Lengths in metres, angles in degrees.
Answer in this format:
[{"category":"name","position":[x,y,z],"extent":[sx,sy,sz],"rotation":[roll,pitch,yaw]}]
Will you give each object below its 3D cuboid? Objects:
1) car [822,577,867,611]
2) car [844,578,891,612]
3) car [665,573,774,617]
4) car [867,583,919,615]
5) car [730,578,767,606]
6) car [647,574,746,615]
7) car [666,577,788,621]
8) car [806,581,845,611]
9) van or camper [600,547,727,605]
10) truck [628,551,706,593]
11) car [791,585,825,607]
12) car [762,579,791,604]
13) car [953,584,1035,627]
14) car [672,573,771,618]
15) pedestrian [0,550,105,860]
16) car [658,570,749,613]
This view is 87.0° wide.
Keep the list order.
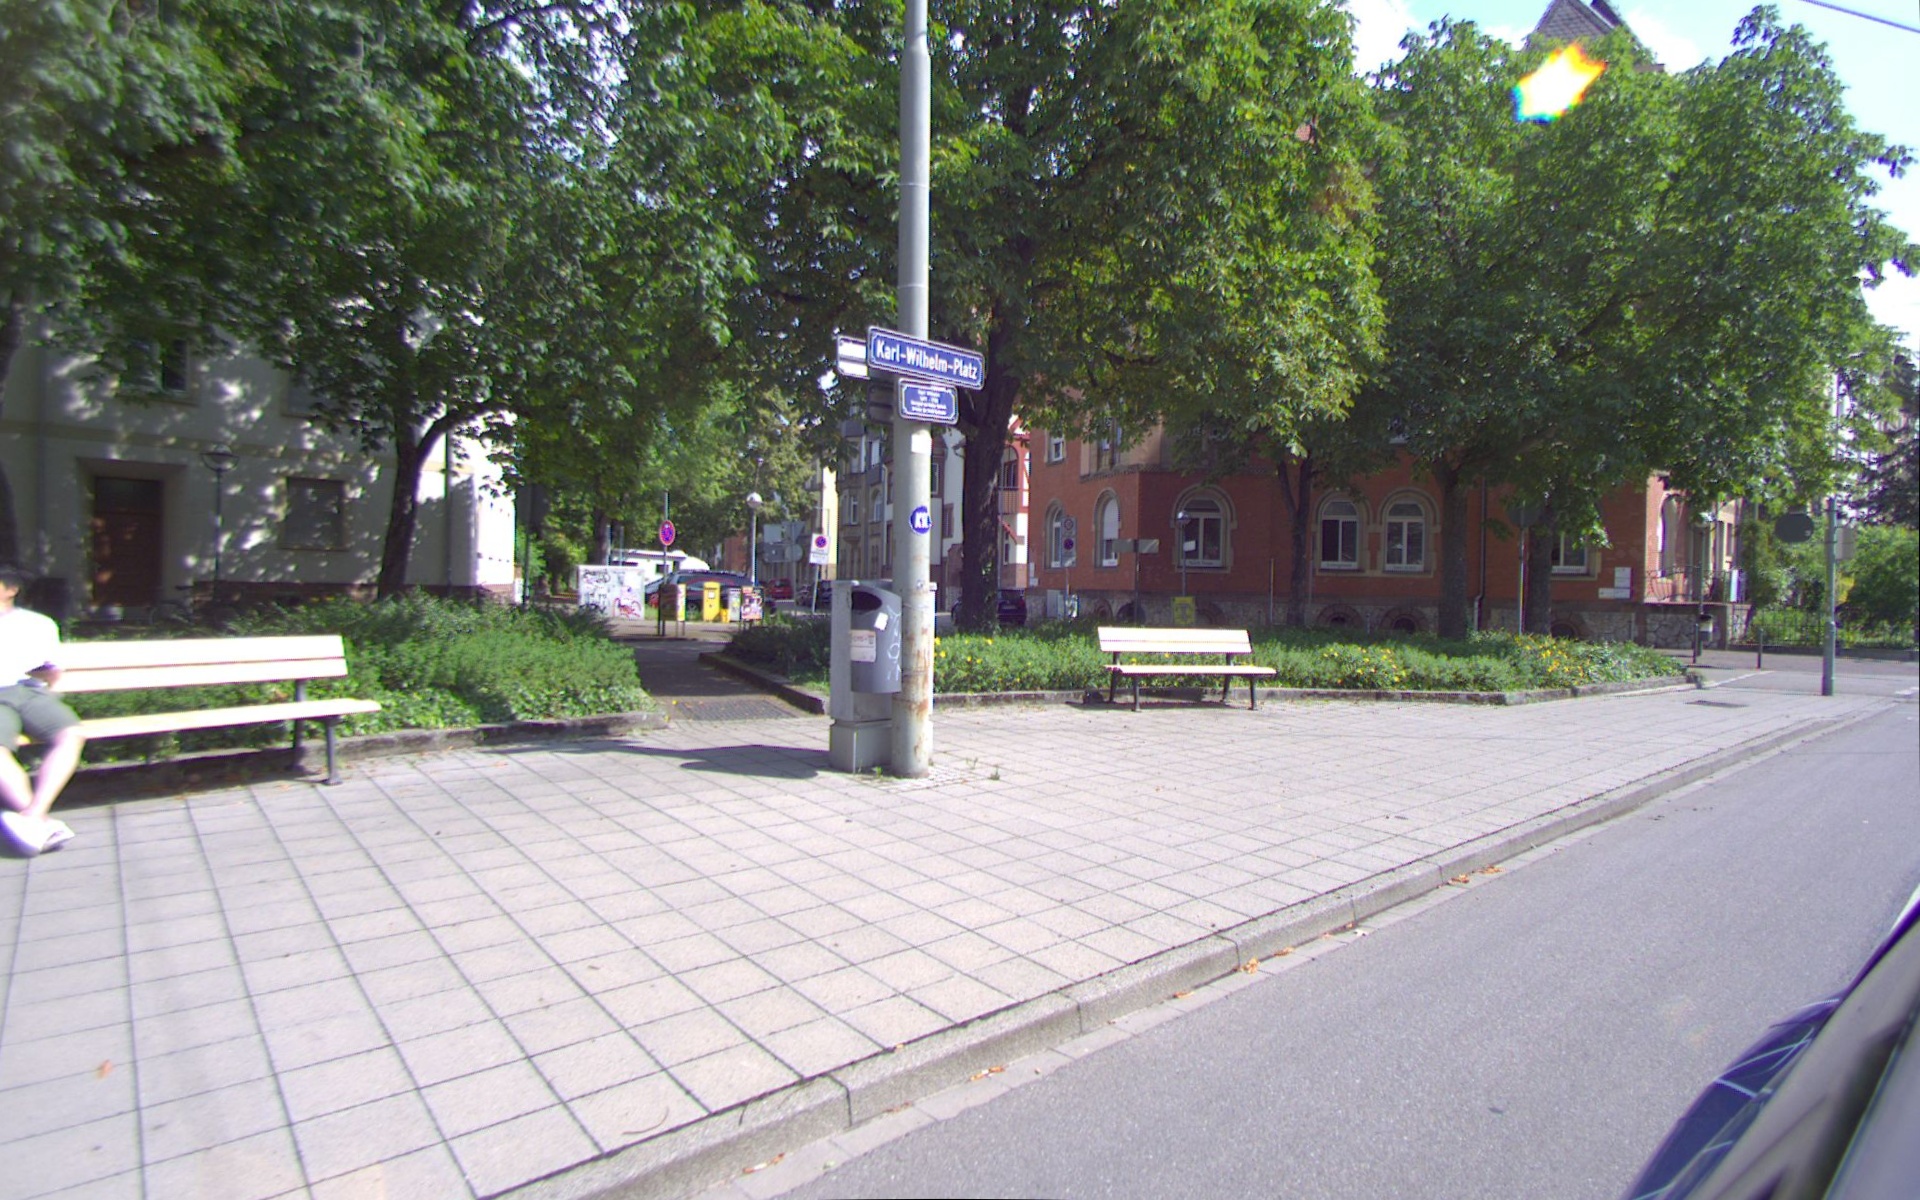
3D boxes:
[{"category":"car","position":[-6.819,-0.380,59.482],"extent":[1.742,1.927,4.009],"rotation":[1,1,-20]},{"category":"car","position":[-5.070,-0.293,55.083],"extent":[1.689,1.727,4.009],"rotation":[1,1,-18]},{"category":"car","position":[-9.682,-0.196,40.744],"extent":[4.040,1.705,1.856],"rotation":[1,0,-22]},{"category":"car","position":[-3.389,-0.082,50.468],"extent":[1.831,1.504,4.009],"rotation":[1,1,-15]},{"category":"car","position":[-13.791,-0.497,65.835],"extent":[1.896,1.754,3.838],"rotation":[0,-1,-20]},{"category":"car","position":[-9.821,-0.198,37.695],"extent":[3.342,1.440,1.566],"rotation":[1,0,-22]},{"category":"car","position":[-8.206,-0.043,35.647],"extent":[3.916,1.460,1.806],"rotation":[1,1,-22]},{"category":"car","position":[-8.643,-0.292,64.812],"extent":[1.690,1.861,3.676],"rotation":[1,1,-20]},{"category":"van or camper","position":[-16.697,-1.325,56.969],"extent":[6.690,3.076,2.126],"rotation":[1,0,-21]},{"category":"truck","position":[-21.645,-2.065,74.855],"extent":[5.436,2.970,2.004],"rotation":[1,0,-18]},{"category":"car","position":[-10.601,-0.315,70.339],"extent":[1.647,1.426,3.797],"rotation":[1,1,-18]},{"category":"car","position":[-15.253,-0.679,84.119],"extent":[1.702,1.950,3.948],"rotation":[0,-1,-20]},{"category":"car","position":[1.183,0.166,37.400],"extent":[1.896,1.504,4.009],"rotation":[1,1,-15]},{"category":"car","position":[-10.256,-0.199,43.484],"extent":[3.916,1.816,1.982],"rotation":[1,0,-20]},{"category":"pedestrian","position":[-4.430,0.424,4.735],"extent":[0.549,1.284,1.193],"rotation":[1,3,-45]},{"category":"car","position":[-12.088,-0.398,47.653],"extent":[3.916,1.883,1.852],"rotation":[1,1,-21]}]
